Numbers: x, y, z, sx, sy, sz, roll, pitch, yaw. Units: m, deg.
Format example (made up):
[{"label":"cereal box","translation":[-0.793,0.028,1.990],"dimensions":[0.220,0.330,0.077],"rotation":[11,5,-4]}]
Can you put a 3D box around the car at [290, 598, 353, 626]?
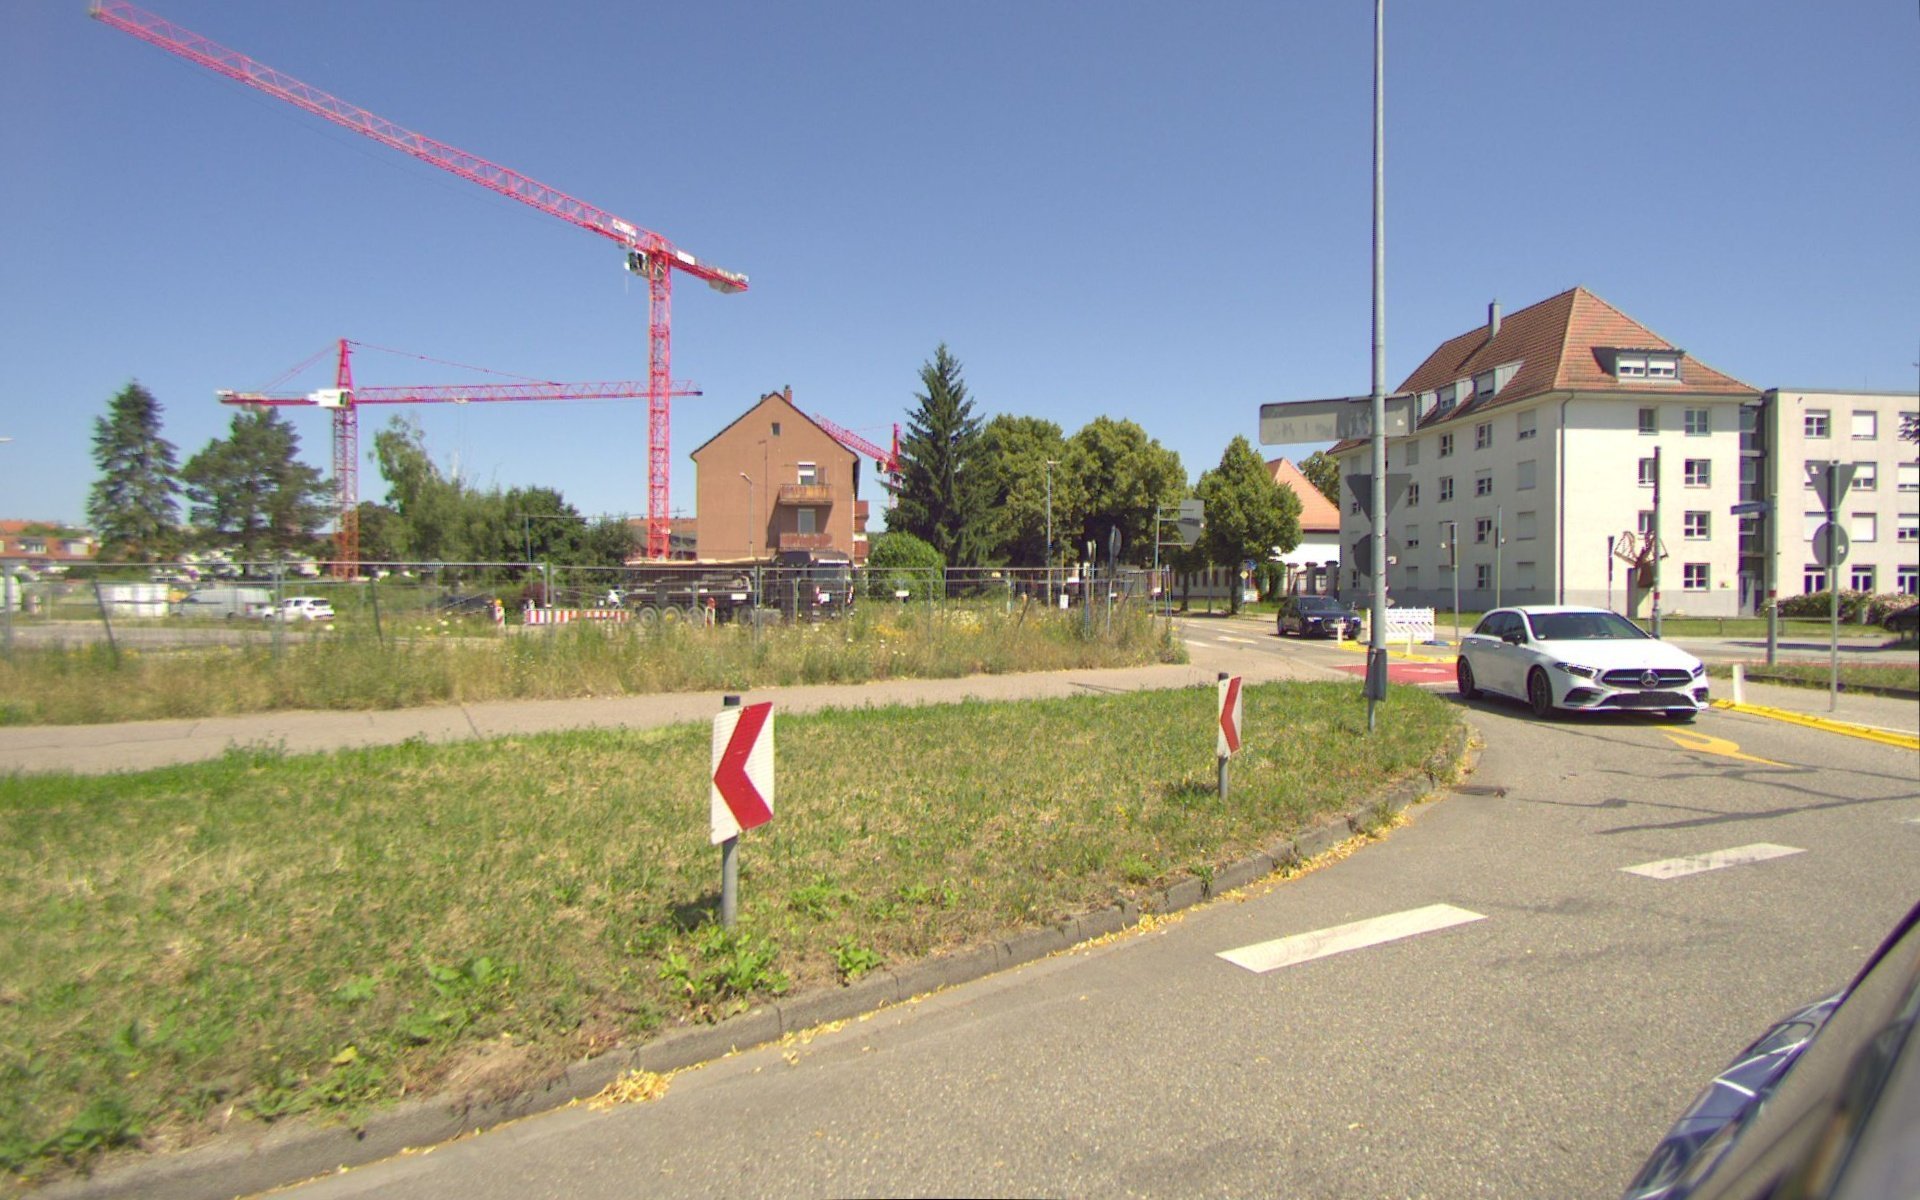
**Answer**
[{"label":"car","translation":[-35.090,0.656,55.657],"dimensions":[2.749,1.423,1.413],"rotation":[1,2,14]}]

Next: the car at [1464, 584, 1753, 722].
[{"label":"car","translation":[8.392,0.599,13.565],"dimensions":[1.752,1.565,3.953],"rotation":[-1,0,9]}]

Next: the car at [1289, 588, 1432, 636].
[{"label":"car","translation":[13.701,0.388,34.917],"dimensions":[1.765,1.469,4.626],"rotation":[-3,1,-24]}]

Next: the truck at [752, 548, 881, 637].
[{"label":"truck","translation":[-6.177,-0.331,43.355],"dimensions":[4.948,3.577,3.115],"rotation":[0,0,44]}]

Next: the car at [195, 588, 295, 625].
[{"label":"car","translation":[-40.094,0.340,56.765],"dimensions":[4.601,2.039,1.782],"rotation":[0,0,7]}]

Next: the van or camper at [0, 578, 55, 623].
[{"label":"van or camper","translation":[-57.886,0.031,60.555],"dimensions":[6.895,2.635,1.923],"rotation":[0,0,13]}]

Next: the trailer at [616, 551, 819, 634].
[{"label":"trailer","translation":[-11.178,-0.341,46.656],"dimensions":[8.879,3.577,3.144],"rotation":[0,0,20]}]

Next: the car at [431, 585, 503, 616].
[{"label":"car","translation":[-25.975,0.026,53.348],"dimensions":[3.368,1.634,1.364],"rotation":[0,0,15]}]

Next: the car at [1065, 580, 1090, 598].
[{"label":"car","translation":[12.134,-1.163,104.933],"dimensions":[1.655,1.791,4.210],"rotation":[2,1,-6]}]

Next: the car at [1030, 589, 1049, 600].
[{"label":"car","translation":[10.042,-0.659,128.765],"dimensions":[1.610,1.399,3.895],"rotation":[0,0,-8]}]

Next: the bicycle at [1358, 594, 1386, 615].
[{"label":"bicycle","translation":[22.230,0.253,54.669],"dimensions":[0.696,1.037,1.985],"rotation":[-3,1,1]}]
